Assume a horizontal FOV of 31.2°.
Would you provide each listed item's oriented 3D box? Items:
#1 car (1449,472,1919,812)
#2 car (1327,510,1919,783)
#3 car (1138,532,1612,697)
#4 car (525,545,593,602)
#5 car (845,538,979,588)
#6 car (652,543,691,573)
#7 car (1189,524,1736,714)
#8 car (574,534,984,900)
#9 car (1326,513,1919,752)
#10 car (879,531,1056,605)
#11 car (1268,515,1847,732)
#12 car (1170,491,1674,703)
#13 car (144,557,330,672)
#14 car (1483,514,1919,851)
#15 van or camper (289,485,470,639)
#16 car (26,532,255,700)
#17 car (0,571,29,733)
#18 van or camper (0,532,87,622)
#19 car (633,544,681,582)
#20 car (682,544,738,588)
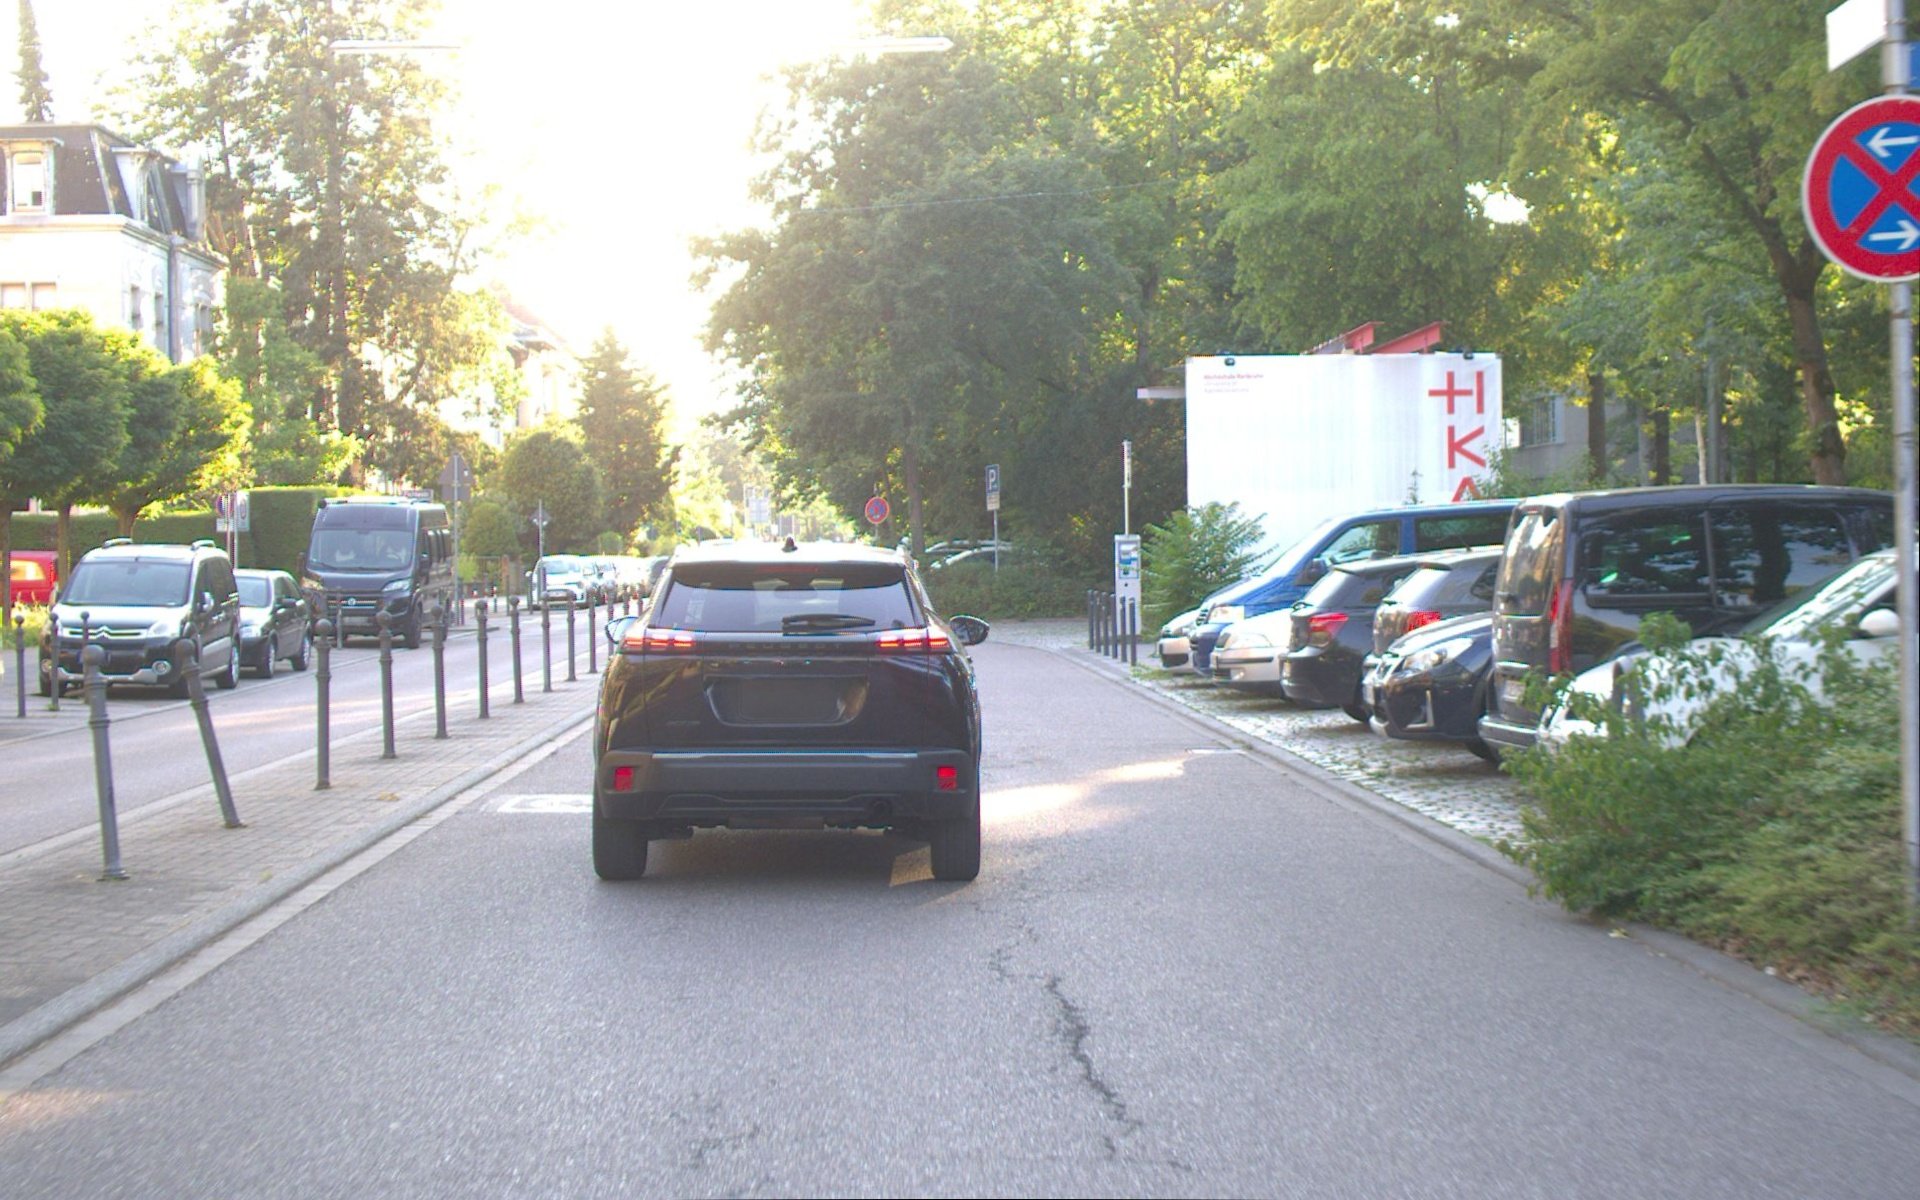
[{"bbox_3d":[5.224,0.165,20.026,4.362,1.774,1.921,-3,1,-2],"label":"car"},{"bbox_3d":[4.767,0.260,22.746,4.362,1.548,1.876,-3,1,-2],"label":"car"},{"bbox_3d":[4.548,0.134,38.195,4.926,1.548,1.916,-3,1,-2],"label":"car"},{"bbox_3d":[-11.218,-0.754,96.329,1.613,1.510,3.712,-3,1,-3],"label":"car"},{"bbox_3d":[-1.577,-1.214,112.061,4.242,1.444,2.022,-2,1,-3],"label":"car"},{"bbox_3d":[-15.394,-2.255,183.700,1.899,1.568,4.000,0,1,-2],"label":"car"},{"bbox_3d":[4.803,0.159,33.333,4.926,1.548,1.916,-3,1,-2],"label":"car"},{"bbox_3d":[-0.837,0.470,17.000,1.771,1.563,4.109,0,1,-1],"label":"car"},{"bbox_3d":[5.106,0.216,25.944,4.362,1.532,1.921,-3,1,-2],"label":"car"},{"bbox_3d":[0.160,-0.748,78.950,3.986,1.549,1.726,-1,2,-1],"label":"car"},{"bbox_3d":[4.878,0.170,28.496,4.362,1.532,1.921,-3,1,-2],"label":"car"},{"bbox_3d":[4.726,-0.050,35.648,4.852,1.909,1.916,-3,1,-2],"label":"car"},{"bbox_3d":[-9.904,0.166,47.335,1.696,1.465,3.854,2,1,0],"label":"car"},{"bbox_3d":[5.055,0.331,17.705,4.362,1.548,1.727,-3,1,-2],"label":"car"},{"bbox_3d":[-10.203,-0.682,60.937,2.229,2.536,7.080,1,1,-2],"label":"van or camper"},{"bbox_3d":[-9.820,0.140,41.514,1.777,1.859,4.333,2,1,-1],"label":"car"},{"bbox_3d":[-9.681,0.502,30.952,1.718,1.491,4.378,0,1,-5],"label":"car"},{"bbox_3d":[-23.749,-0.546,82.986,4.768,1.979,2.001,-1,5,1],"label":"van or camper"},{"bbox_3d":[-12.270,-1.503,139.169,1.752,1.409,3.765,-3,1,-3],"label":"car"},{"bbox_3d":[-8.532,-1.174,117.642,1.741,1.453,4.624,-1,1,-2],"label":"car"}]
